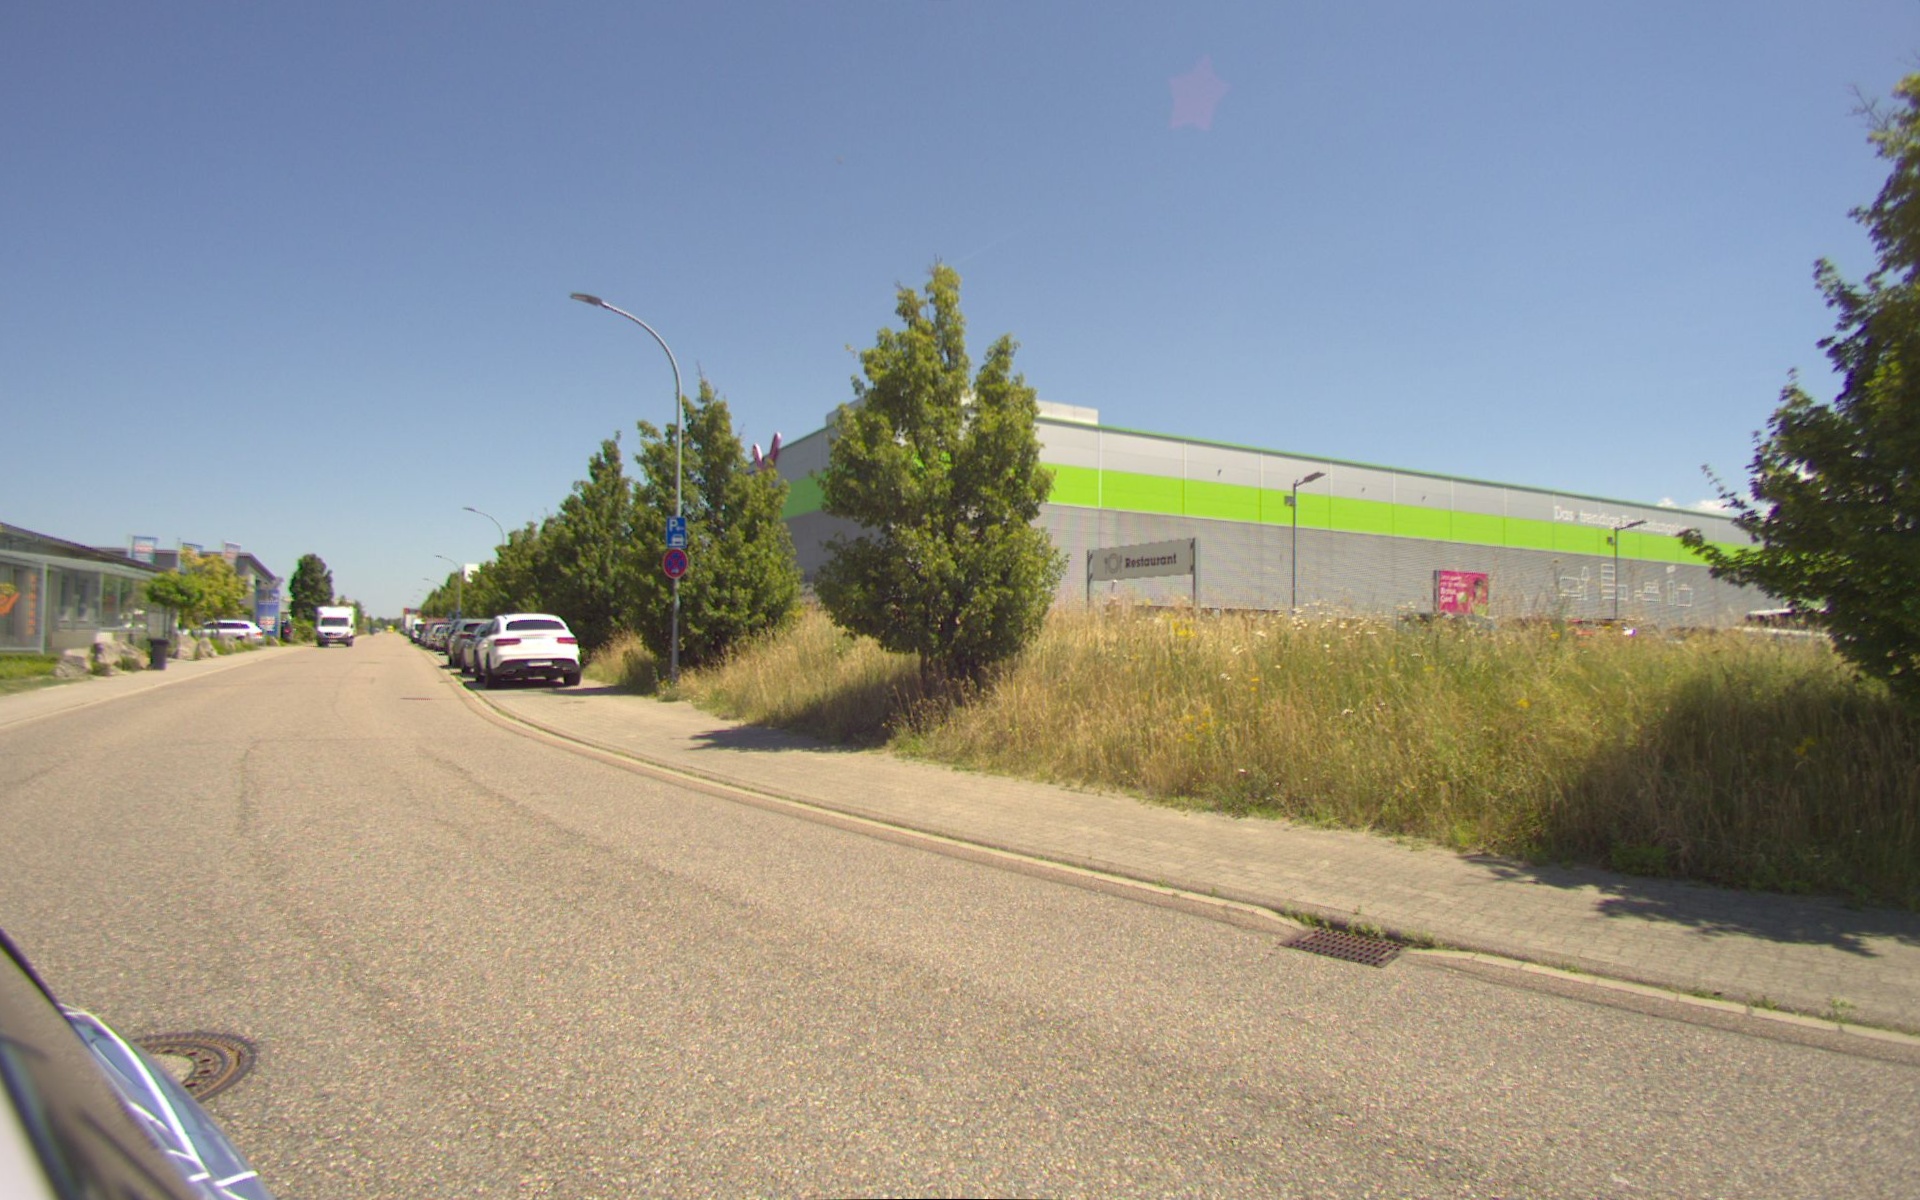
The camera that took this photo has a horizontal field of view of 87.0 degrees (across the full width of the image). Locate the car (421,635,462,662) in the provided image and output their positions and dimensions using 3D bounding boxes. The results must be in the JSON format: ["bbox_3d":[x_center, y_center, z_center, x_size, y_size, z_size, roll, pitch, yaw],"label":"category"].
[{"bbox_3d":[-31.237,2.893,60.894,1.826,1.530,4.918,0,-3,-32],"label":"car"}]

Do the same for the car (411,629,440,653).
[{"bbox_3d":[-45.099,3.455,85.350,1.946,1.915,5.418,2,-3,-29],"label":"car"}]

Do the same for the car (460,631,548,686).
[{"bbox_3d":[-13.449,1.667,29.692,1.886,1.503,4.426,2,-3,-30],"label":"car"}]

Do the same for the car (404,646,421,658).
[{"bbox_3d":[-69.678,6.612,128.848,1.769,1.497,4.465,0,-3,-30],"label":"car"}]

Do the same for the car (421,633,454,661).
[{"bbox_3d":[-34.213,3.071,66.216,1.825,1.772,5.002,0,-2,-29],"label":"car"}]

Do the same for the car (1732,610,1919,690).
[{"bbox_3d":[17.419,0.933,19.131,1.966,1.423,4.011,1,-3,-32],"label":"car"}]

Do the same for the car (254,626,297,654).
[{"bbox_3d":[-51.365,2.977,75.997,1.965,2.029,5.353,2,-2,-27],"label":"car"}]

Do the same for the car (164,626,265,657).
[{"bbox_3d":[-40.432,2.290,55.049,4.220,1.553,1.918,3,-4,-32],"label":"car"}]

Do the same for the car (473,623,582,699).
[{"bbox_3d":[-10.625,1.422,24.667,1.886,1.668,4.769,2,-3,-30],"label":"car"}]

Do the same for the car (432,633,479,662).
[{"bbox_3d":[-27.855,2.619,55.755,1.826,1.530,5.181,0,-3,-32],"label":"car"}]

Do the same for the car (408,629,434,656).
[{"bbox_3d":[-55.169,4.354,103.632,2.290,2.618,6.104,0,-2,-28],"label":"car"}]

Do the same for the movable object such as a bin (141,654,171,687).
[{"bbox_3d":[-23.286,2.042,29.318,0.551,0.954,0.541,3,-4,-31],"label":"movable object such as a bin"}]

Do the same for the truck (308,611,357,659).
[{"bbox_3d":[-45.018,2.584,72.763,2.422,3.230,6.903,3,-4,-28],"label":"truck"}]

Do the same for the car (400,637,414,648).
[{"bbox_3d":[-90.455,6.960,165.504,1.769,1.660,3.842,2,-3,-30],"label":"car"}]

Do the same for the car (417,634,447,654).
[{"bbox_3d":[-41.793,3.452,80.028,1.826,1.563,3.778,2,-3,-31],"label":"car"}]

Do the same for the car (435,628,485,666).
[{"bbox_3d":[-24.632,2.318,49.775,1.963,1.726,5.022,0,-3,-29],"label":"car"}]

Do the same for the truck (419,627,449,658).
[{"bbox_3d":[-39.492,3.177,75.928,1.826,2.240,4.660,0,-3,-30],"label":"truck"}]

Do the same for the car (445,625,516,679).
[{"bbox_3d":[-16.818,1.797,35.393,1.886,1.726,4.426,0,-3,-30],"label":"car"}]
